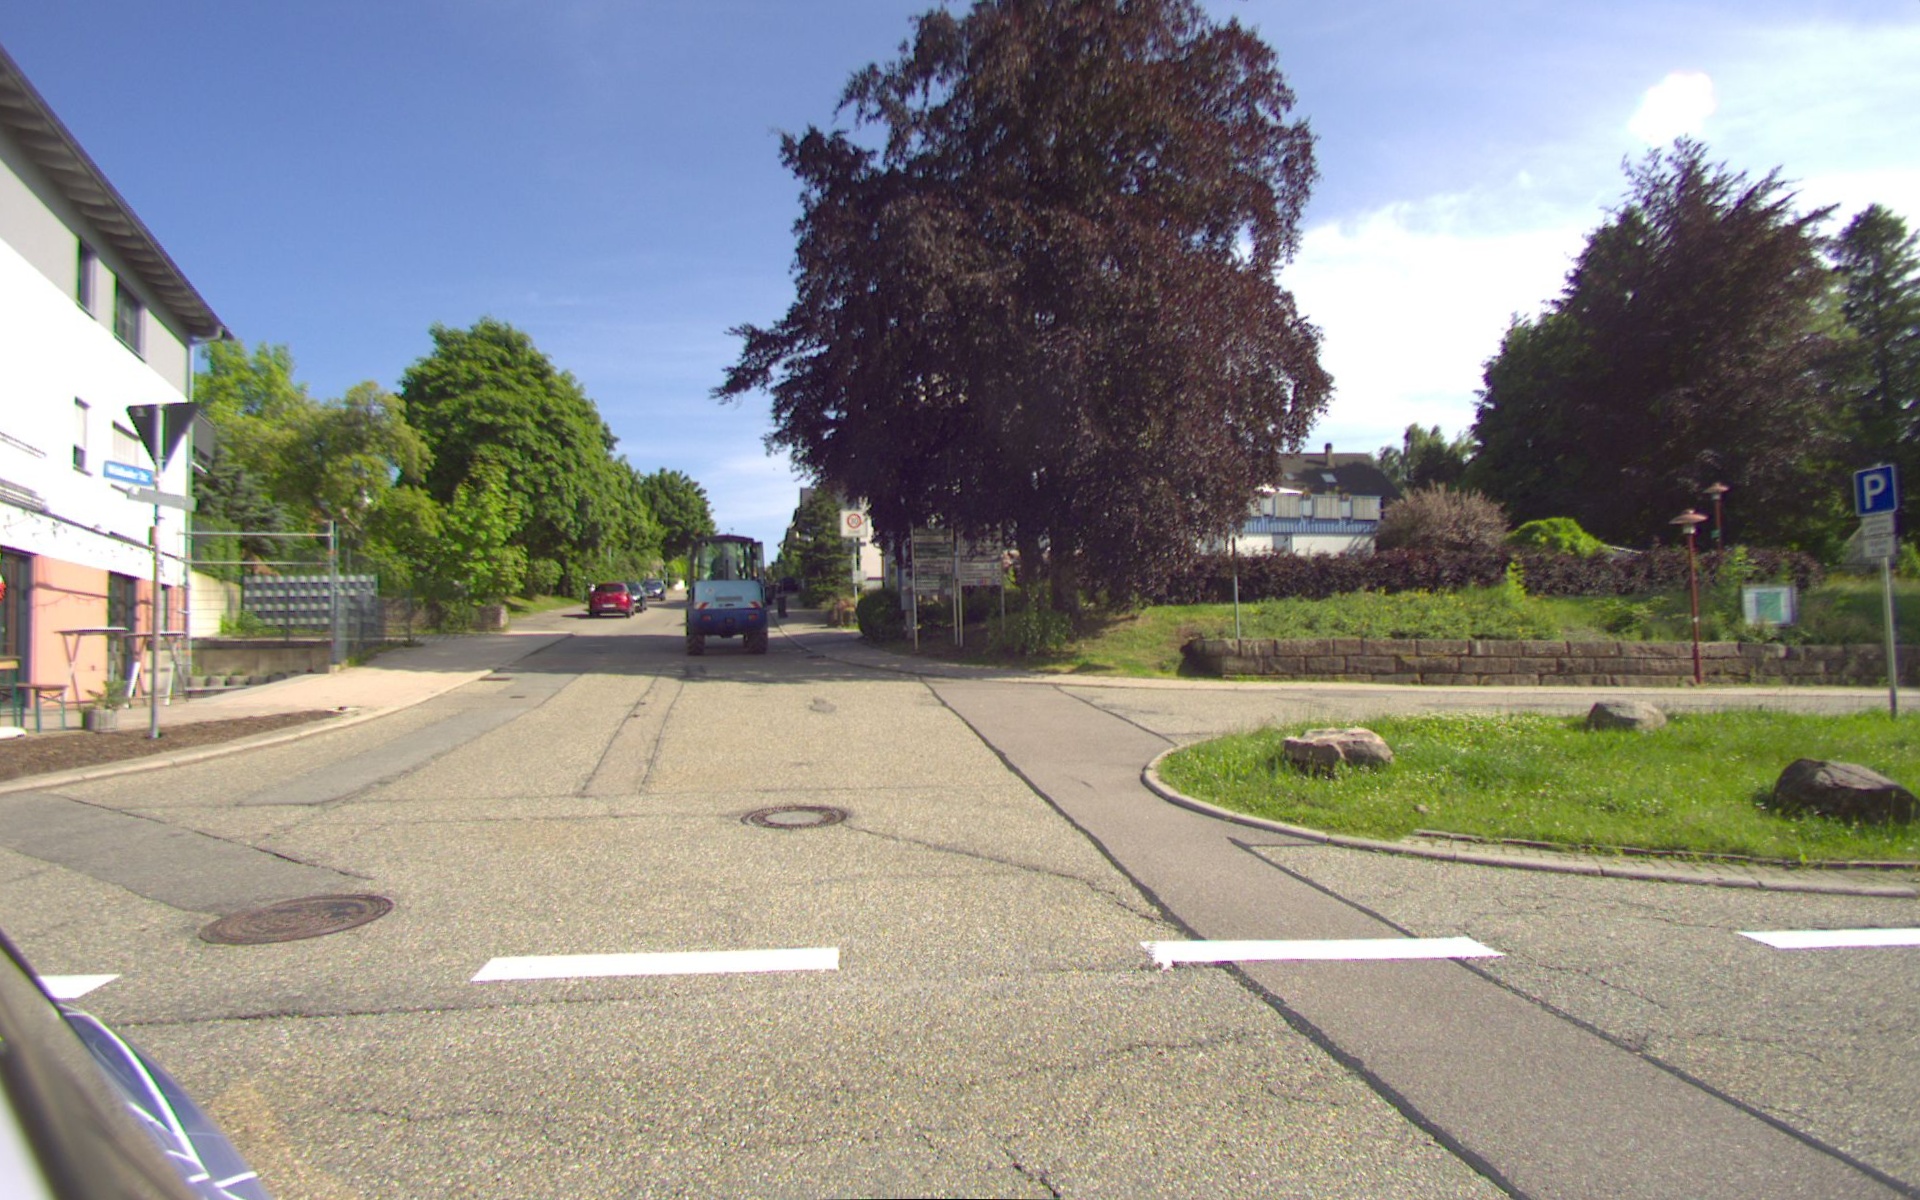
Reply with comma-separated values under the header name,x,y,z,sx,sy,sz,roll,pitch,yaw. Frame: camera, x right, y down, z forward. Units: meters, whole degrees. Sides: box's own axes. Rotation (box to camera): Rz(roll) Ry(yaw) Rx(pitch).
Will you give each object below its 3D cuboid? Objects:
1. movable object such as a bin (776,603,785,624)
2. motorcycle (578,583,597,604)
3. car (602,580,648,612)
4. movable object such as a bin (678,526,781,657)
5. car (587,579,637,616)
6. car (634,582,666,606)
name,x,y,z,sx,sy,sz,roll,pitch,yaw
movable object such as a bin,-7.451,0.555,42.077,0.345,0.870,0.396,0,0,-12
motorcycle,-21.137,-0.376,57.435,0.772,1.191,2.194,1,1,-15
car,-16.161,-0.221,48.965,1.747,1.481,3.820,0,1,-13
movable object such as a bin,-5.655,-0.245,24.359,1.966,2.790,5.121,1,1,-18
car,-14.898,-0.117,43.475,1.598,1.509,3.820,0,1,-13
car,-20.495,-0.404,67.034,1.747,1.481,3.820,0,1,-13
